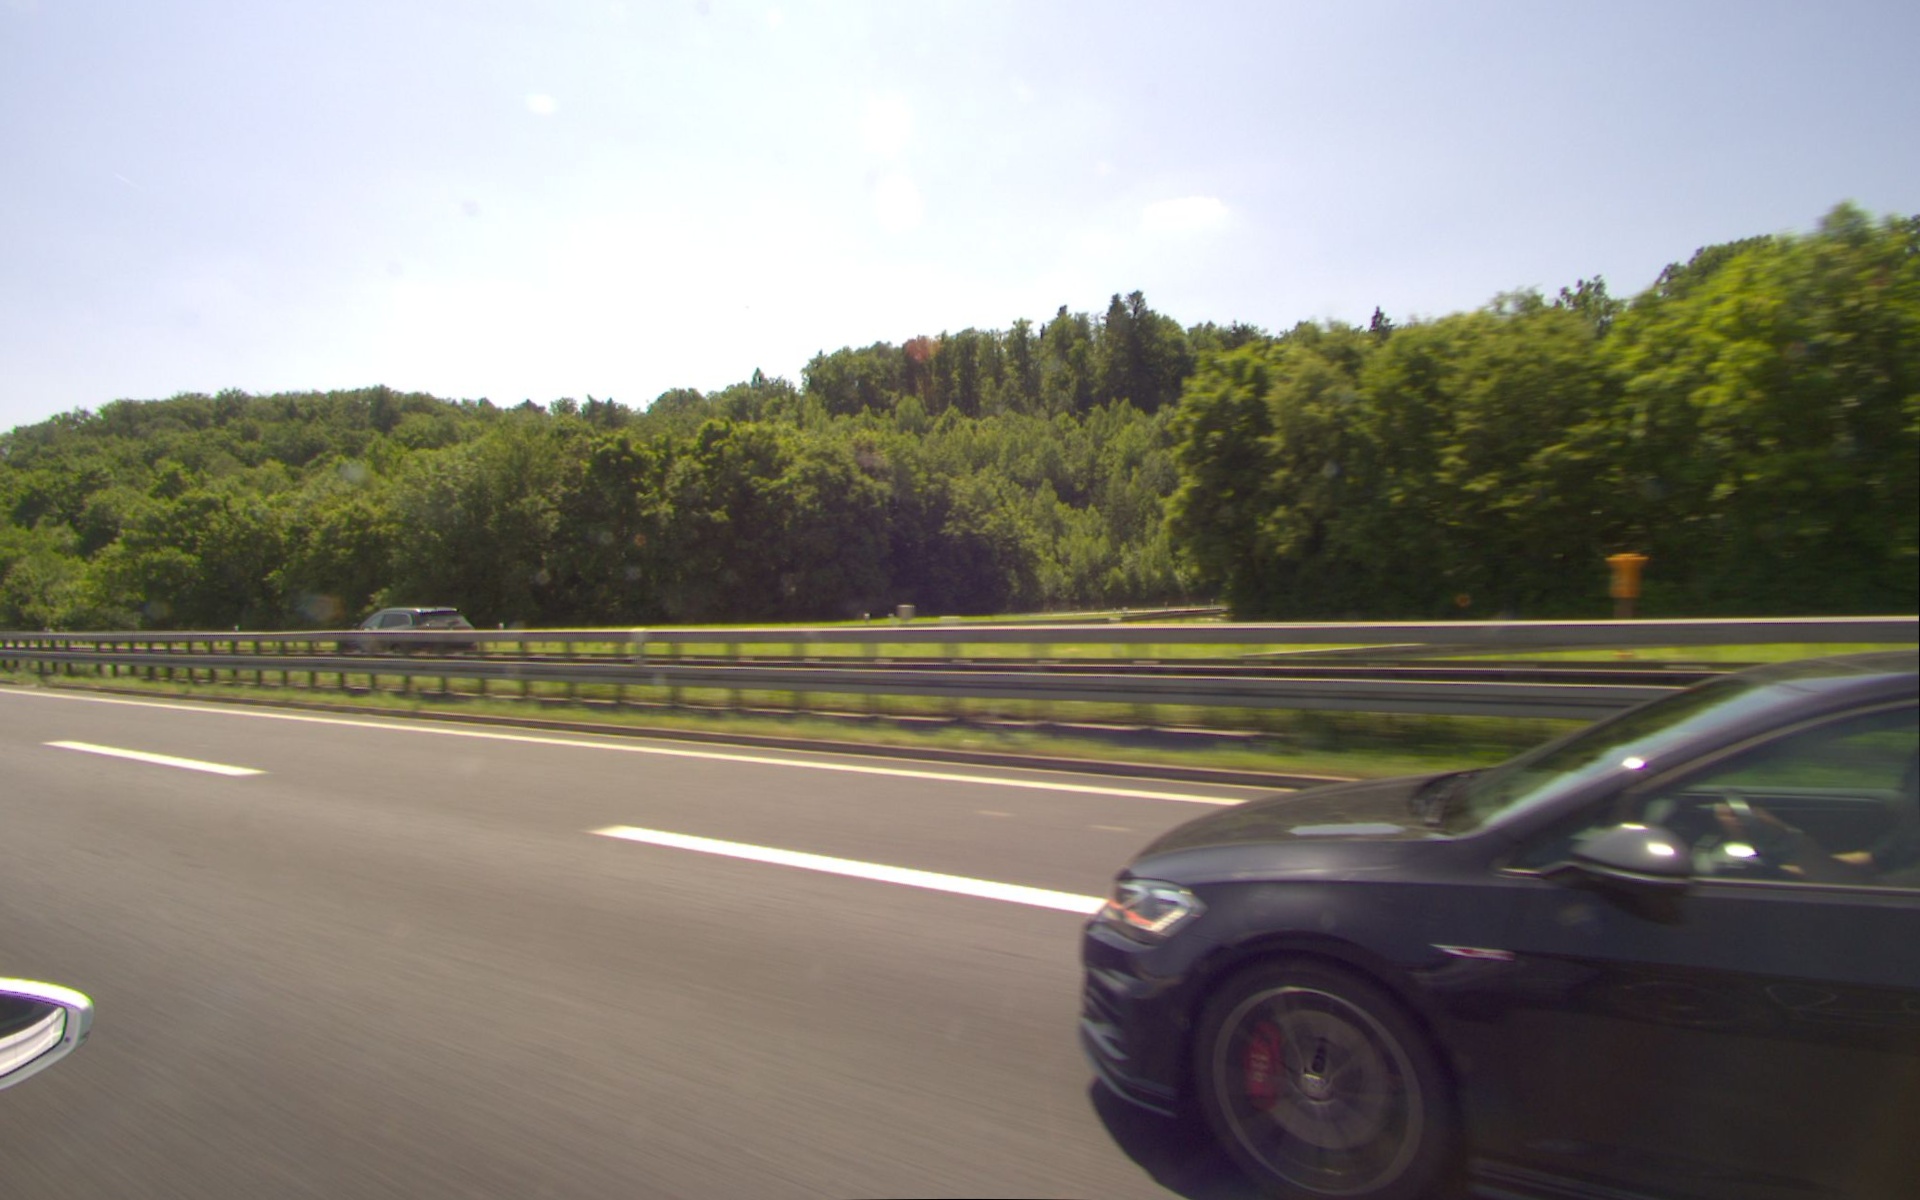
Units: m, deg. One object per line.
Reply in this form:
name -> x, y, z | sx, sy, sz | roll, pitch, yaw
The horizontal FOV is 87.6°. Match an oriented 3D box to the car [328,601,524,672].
car -> -14.041, 0.962, 26.201 | 5.545, 1.683, 1.990 | -2, -1, 31

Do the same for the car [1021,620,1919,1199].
car -> 2.308, 0.789, 2.622 | 3.909, 1.454, 1.791 | -2, -1, 32
